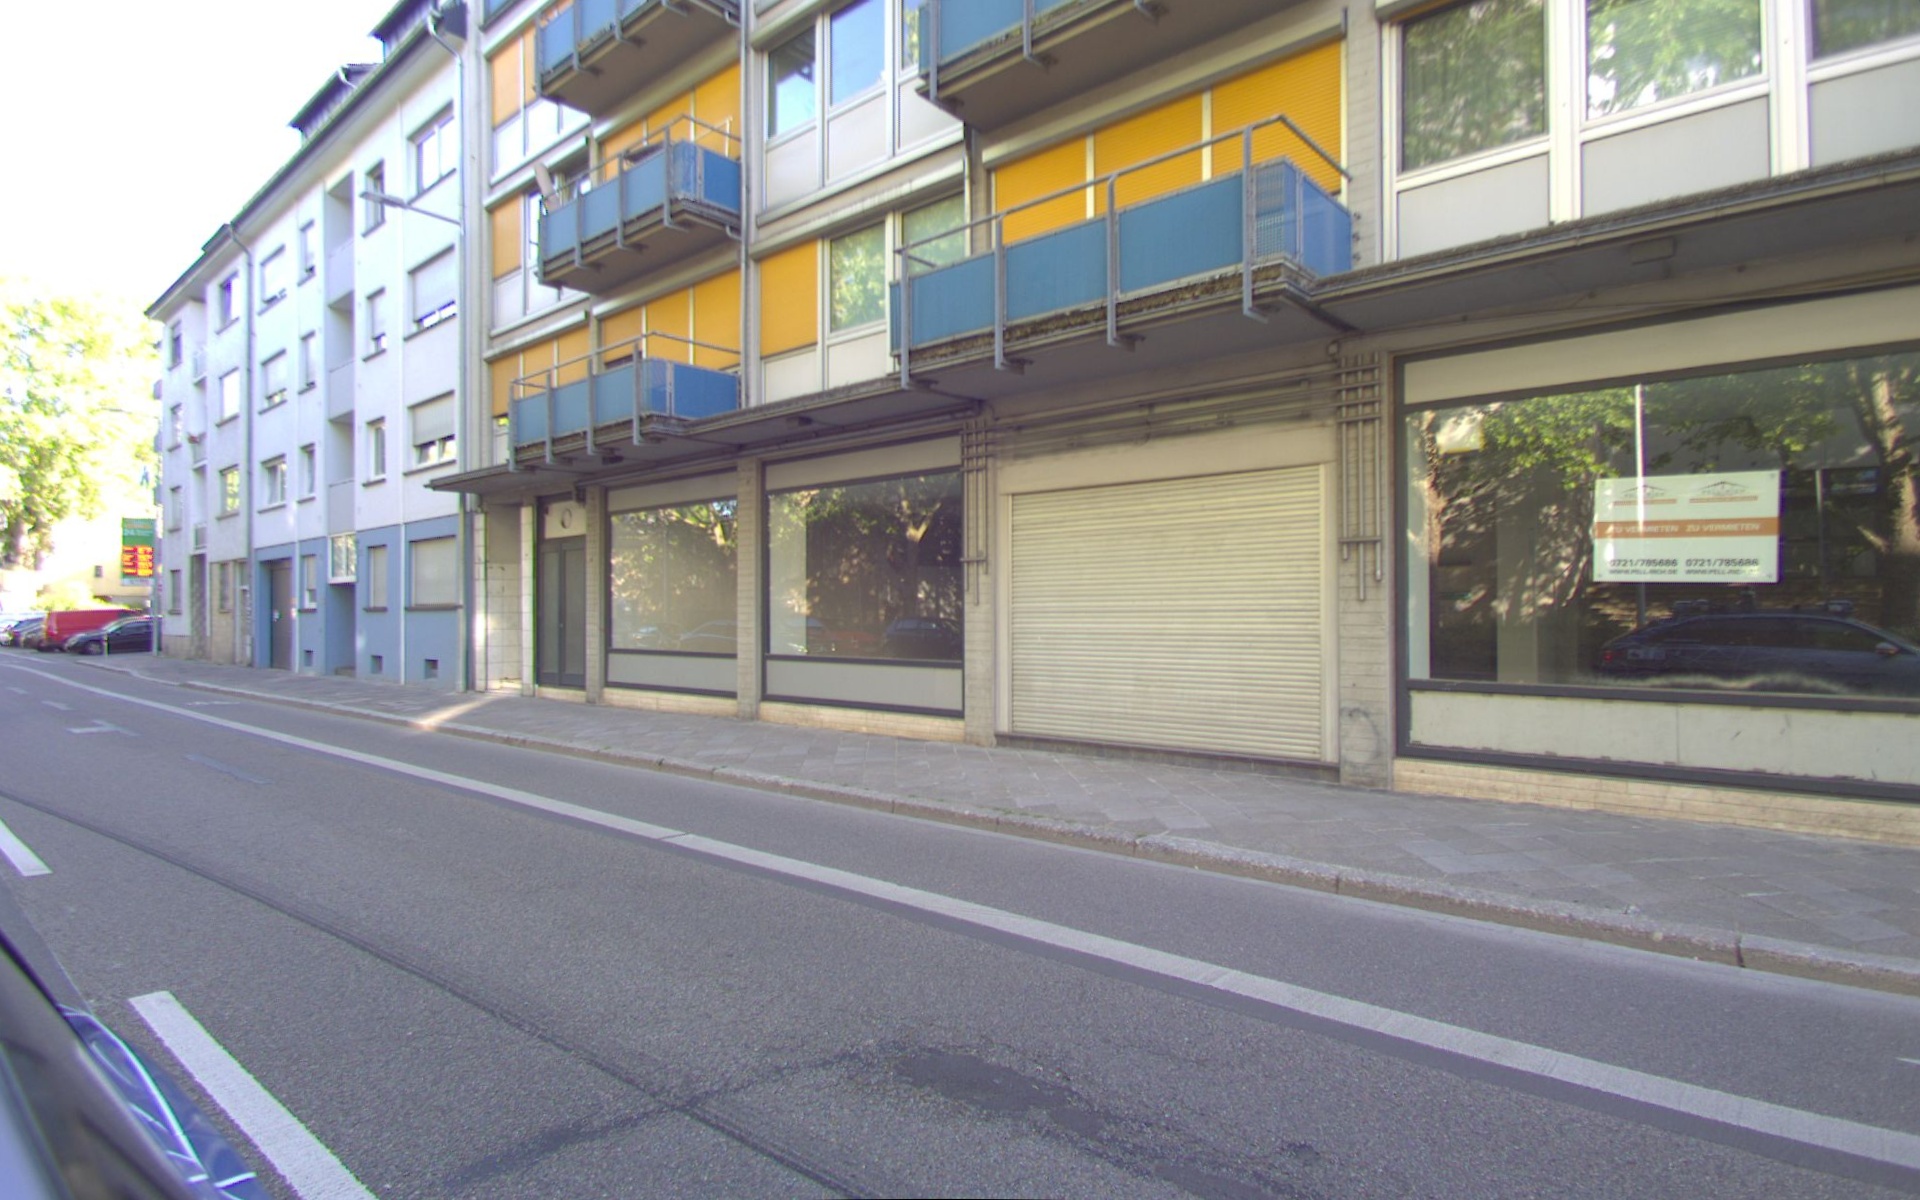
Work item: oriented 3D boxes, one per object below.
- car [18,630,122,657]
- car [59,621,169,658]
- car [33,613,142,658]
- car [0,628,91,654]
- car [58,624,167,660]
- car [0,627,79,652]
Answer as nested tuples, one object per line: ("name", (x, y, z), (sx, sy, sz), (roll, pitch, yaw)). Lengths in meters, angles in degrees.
("car", (-42.811, 2.055, 48.742), (1.345, 1.137, 3.638), (-1, 0, 43))
("car", (-38.189, 1.750, 45.727), (1.490, 1.523, 3.638), (-1, 0, 43))
("car", (-40.648, 1.629, 47.227), (1.488, 1.923, 3.642), (-4, -2, 39))
("car", (-50.443, 2.222, 55.879), (1.345, 1.254, 3.638), (-1, 0, 43))
("car", (-36.673, 1.793, 43.847), (1.490, 1.398, 3.462), (-1, 0, 43))
("car", (-52.257, 2.229, 57.508), (1.345, 1.254, 3.228), (-1, 0, 43))
